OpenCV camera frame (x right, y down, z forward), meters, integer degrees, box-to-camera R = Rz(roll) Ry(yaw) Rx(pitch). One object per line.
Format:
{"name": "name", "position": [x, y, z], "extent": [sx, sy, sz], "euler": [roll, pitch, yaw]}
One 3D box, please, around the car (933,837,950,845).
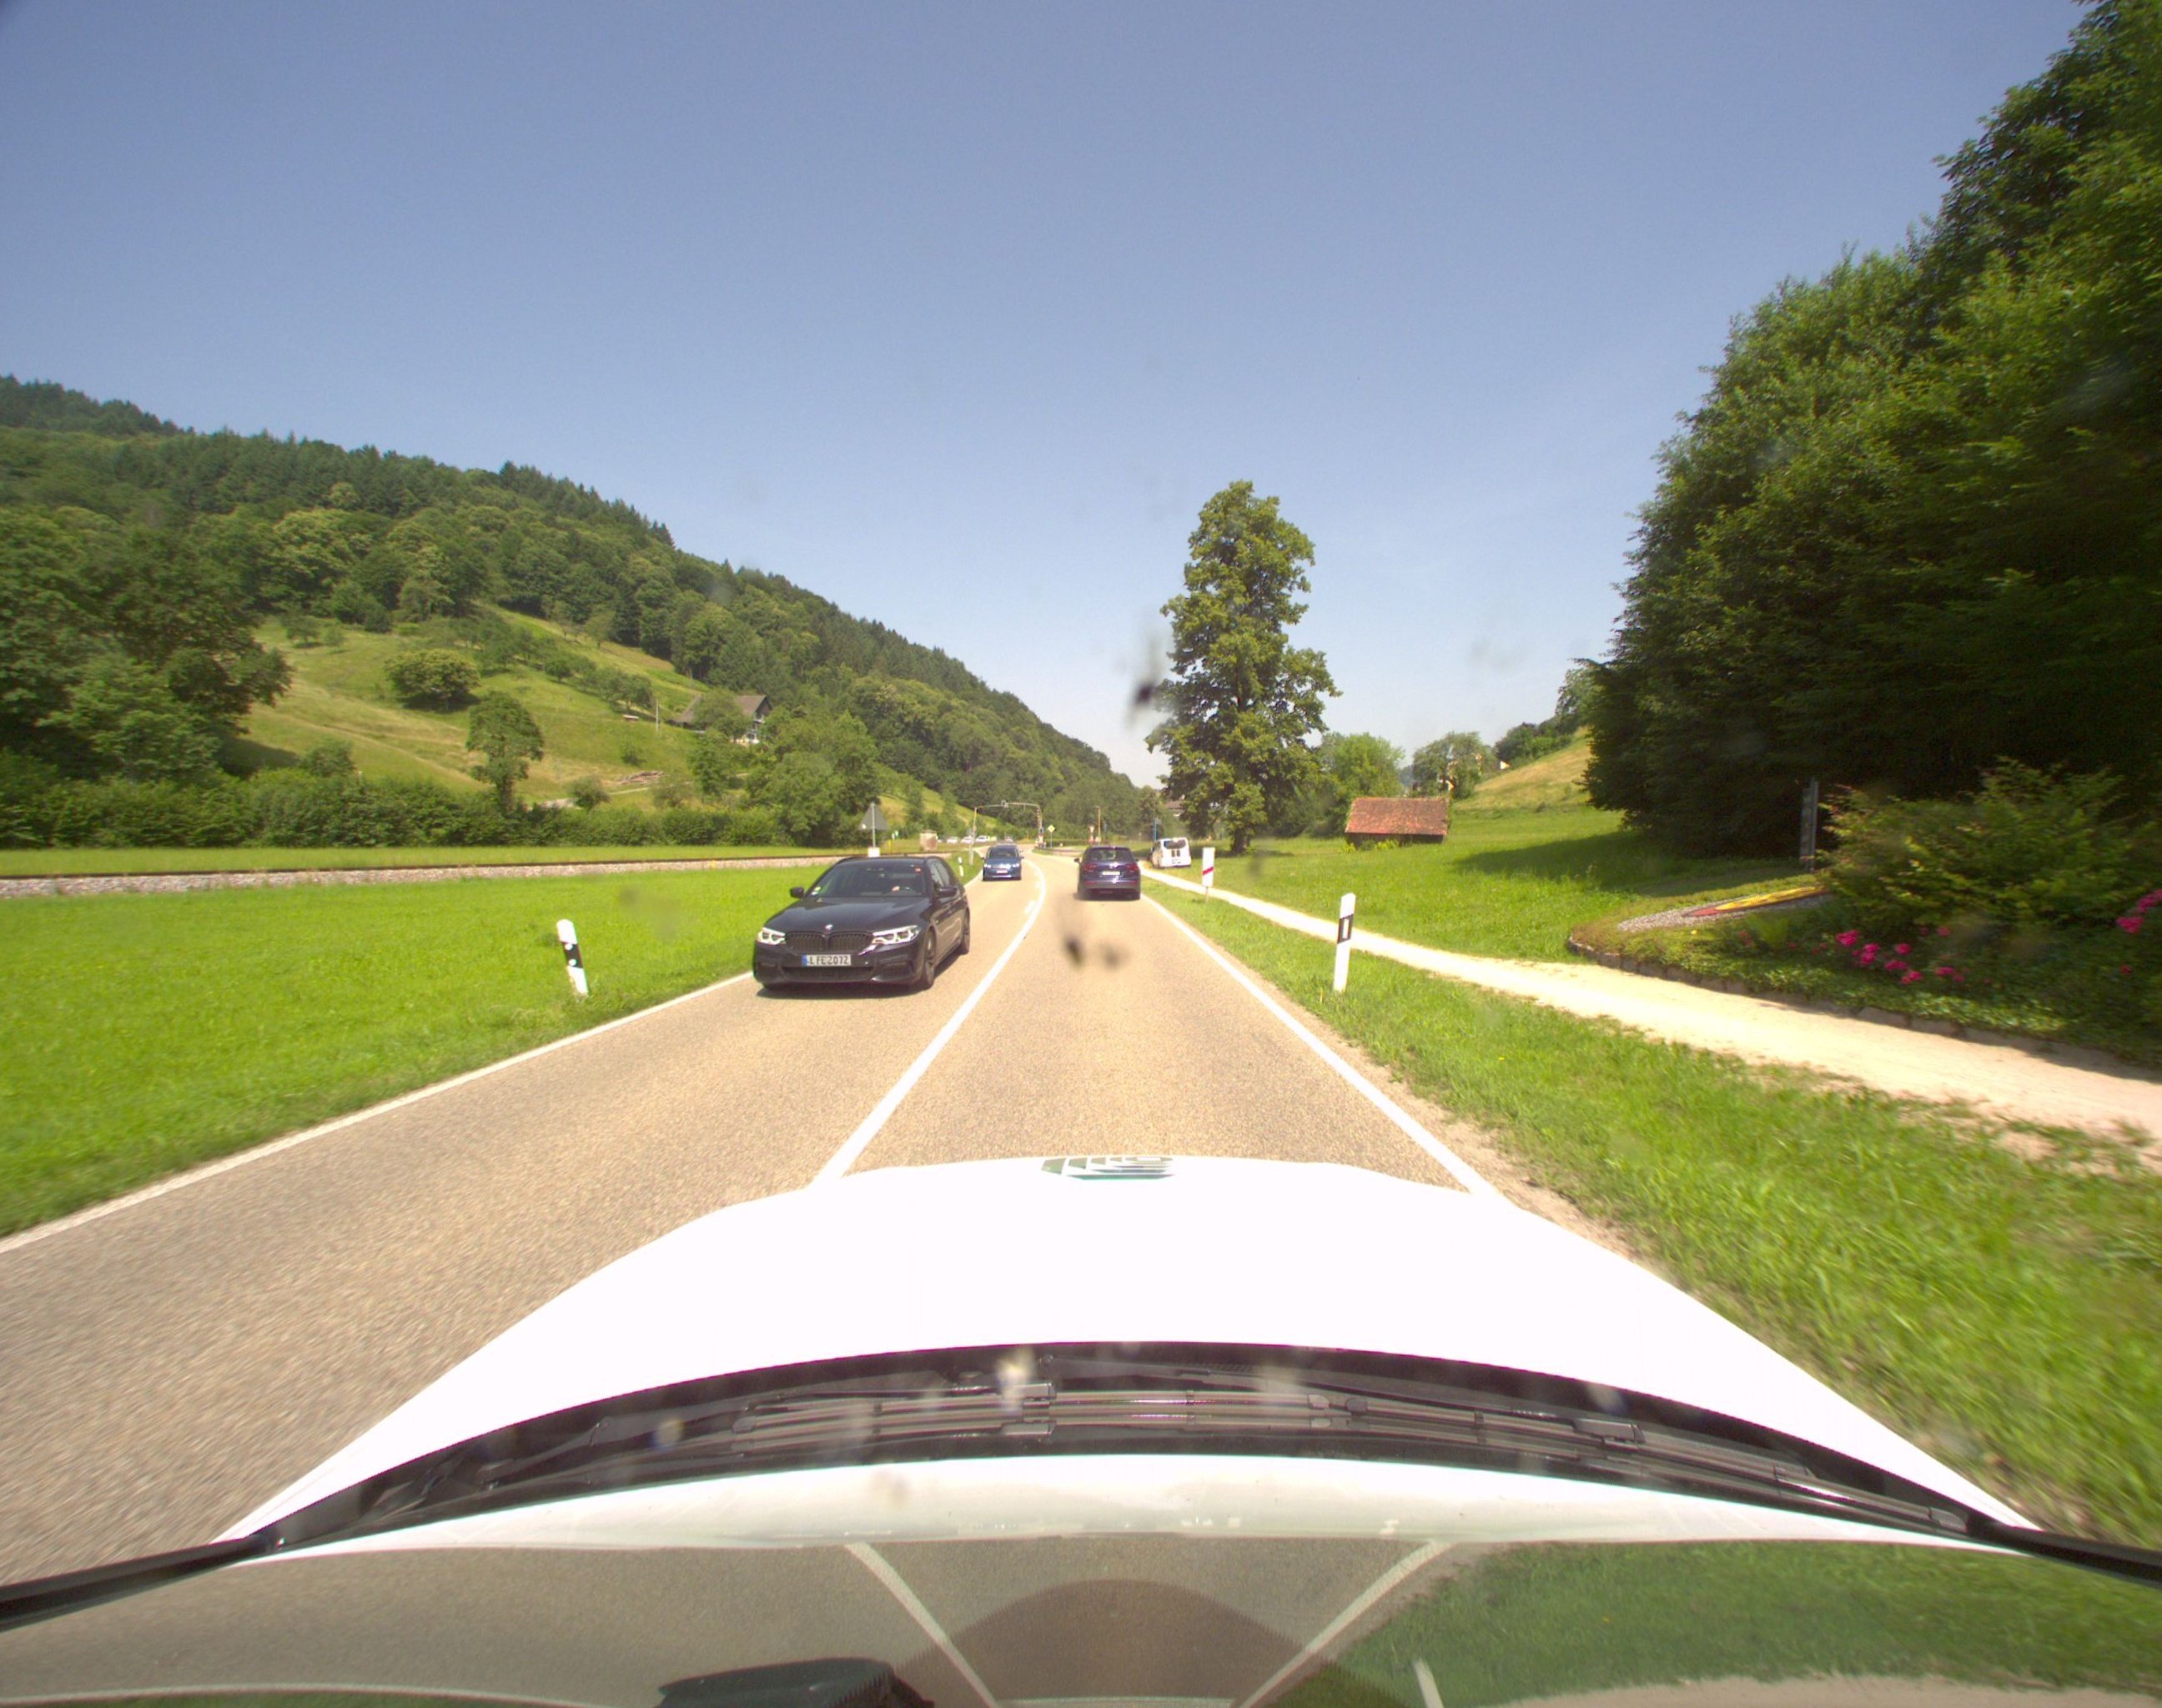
{"name": "car", "position": [-26.565, -2.483, 155.591], "extent": [1.984, 1.500, 4.529], "euler": [2, 1, 5]}

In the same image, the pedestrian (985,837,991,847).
{"name": "pedestrian", "position": [-16.856, -2.165, 147.481], "extent": [0.781, 1.842, 0.702], "euler": [0, 1, 18]}

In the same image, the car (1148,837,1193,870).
{"name": "car", "position": [5.653, -0.076, 51.832], "extent": [1.995, 1.848, 4.864], "euler": [-5, 1, -3]}

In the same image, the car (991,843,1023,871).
{"name": "car", "position": [-4.819, 0.171, 52.837], "extent": [1.914, 1.714, 4.149], "euler": [0, 1, -7]}

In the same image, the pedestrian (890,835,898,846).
{"name": "pedestrian", "position": [-34.560, -2.528, 150.817], "extent": [1.116, 1.969, 0.866], "euler": [0, 1, 23]}

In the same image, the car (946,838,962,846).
{"name": "car", "position": [-24.111, -2.236, 155.028], "extent": [1.984, 1.500, 4.529], "euler": [0, 1, 5]}

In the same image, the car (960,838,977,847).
{"name": "car", "position": [-21.412, -2.263, 155.188], "extent": [1.982, 1.641, 4.913], "euler": [0, 1, 8]}

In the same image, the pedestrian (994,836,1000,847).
{"name": "pedestrian", "position": [-15.282, -2.301, 148.584], "extent": [0.641, 1.858, 0.776], "euler": [0, 1, 41]}

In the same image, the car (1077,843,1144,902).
{"name": "car", "position": [0.833, 0.498, 25.281], "extent": [1.847, 1.649, 4.138], "euler": [0, 1, -1]}

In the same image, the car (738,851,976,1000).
{"name": "car", "position": [-2.590, 0.722, 10.651], "extent": [1.911, 1.470, 4.509], "euler": [0, 1, -1]}

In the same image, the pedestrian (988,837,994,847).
{"name": "pedestrian", "position": [-16.446, -2.252, 148.471], "extent": [0.761, 1.796, 0.799], "euler": [0, 1, 34]}

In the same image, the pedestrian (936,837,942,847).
{"name": "pedestrian", "position": [-26.025, -2.184, 149.053], "extent": [0.951, 1.794, 1.000], "euler": [-1, 1, 0]}

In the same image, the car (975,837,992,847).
{"name": "car", "position": [-18.531, -2.327, 155.493], "extent": [1.859, 1.782, 4.787], "euler": [1, 1, 11]}

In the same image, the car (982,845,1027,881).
{"name": "car", "position": [-3.623, 0.384, 39.226], "extent": [1.861, 1.623, 4.507], "euler": [0, 1, -2]}
